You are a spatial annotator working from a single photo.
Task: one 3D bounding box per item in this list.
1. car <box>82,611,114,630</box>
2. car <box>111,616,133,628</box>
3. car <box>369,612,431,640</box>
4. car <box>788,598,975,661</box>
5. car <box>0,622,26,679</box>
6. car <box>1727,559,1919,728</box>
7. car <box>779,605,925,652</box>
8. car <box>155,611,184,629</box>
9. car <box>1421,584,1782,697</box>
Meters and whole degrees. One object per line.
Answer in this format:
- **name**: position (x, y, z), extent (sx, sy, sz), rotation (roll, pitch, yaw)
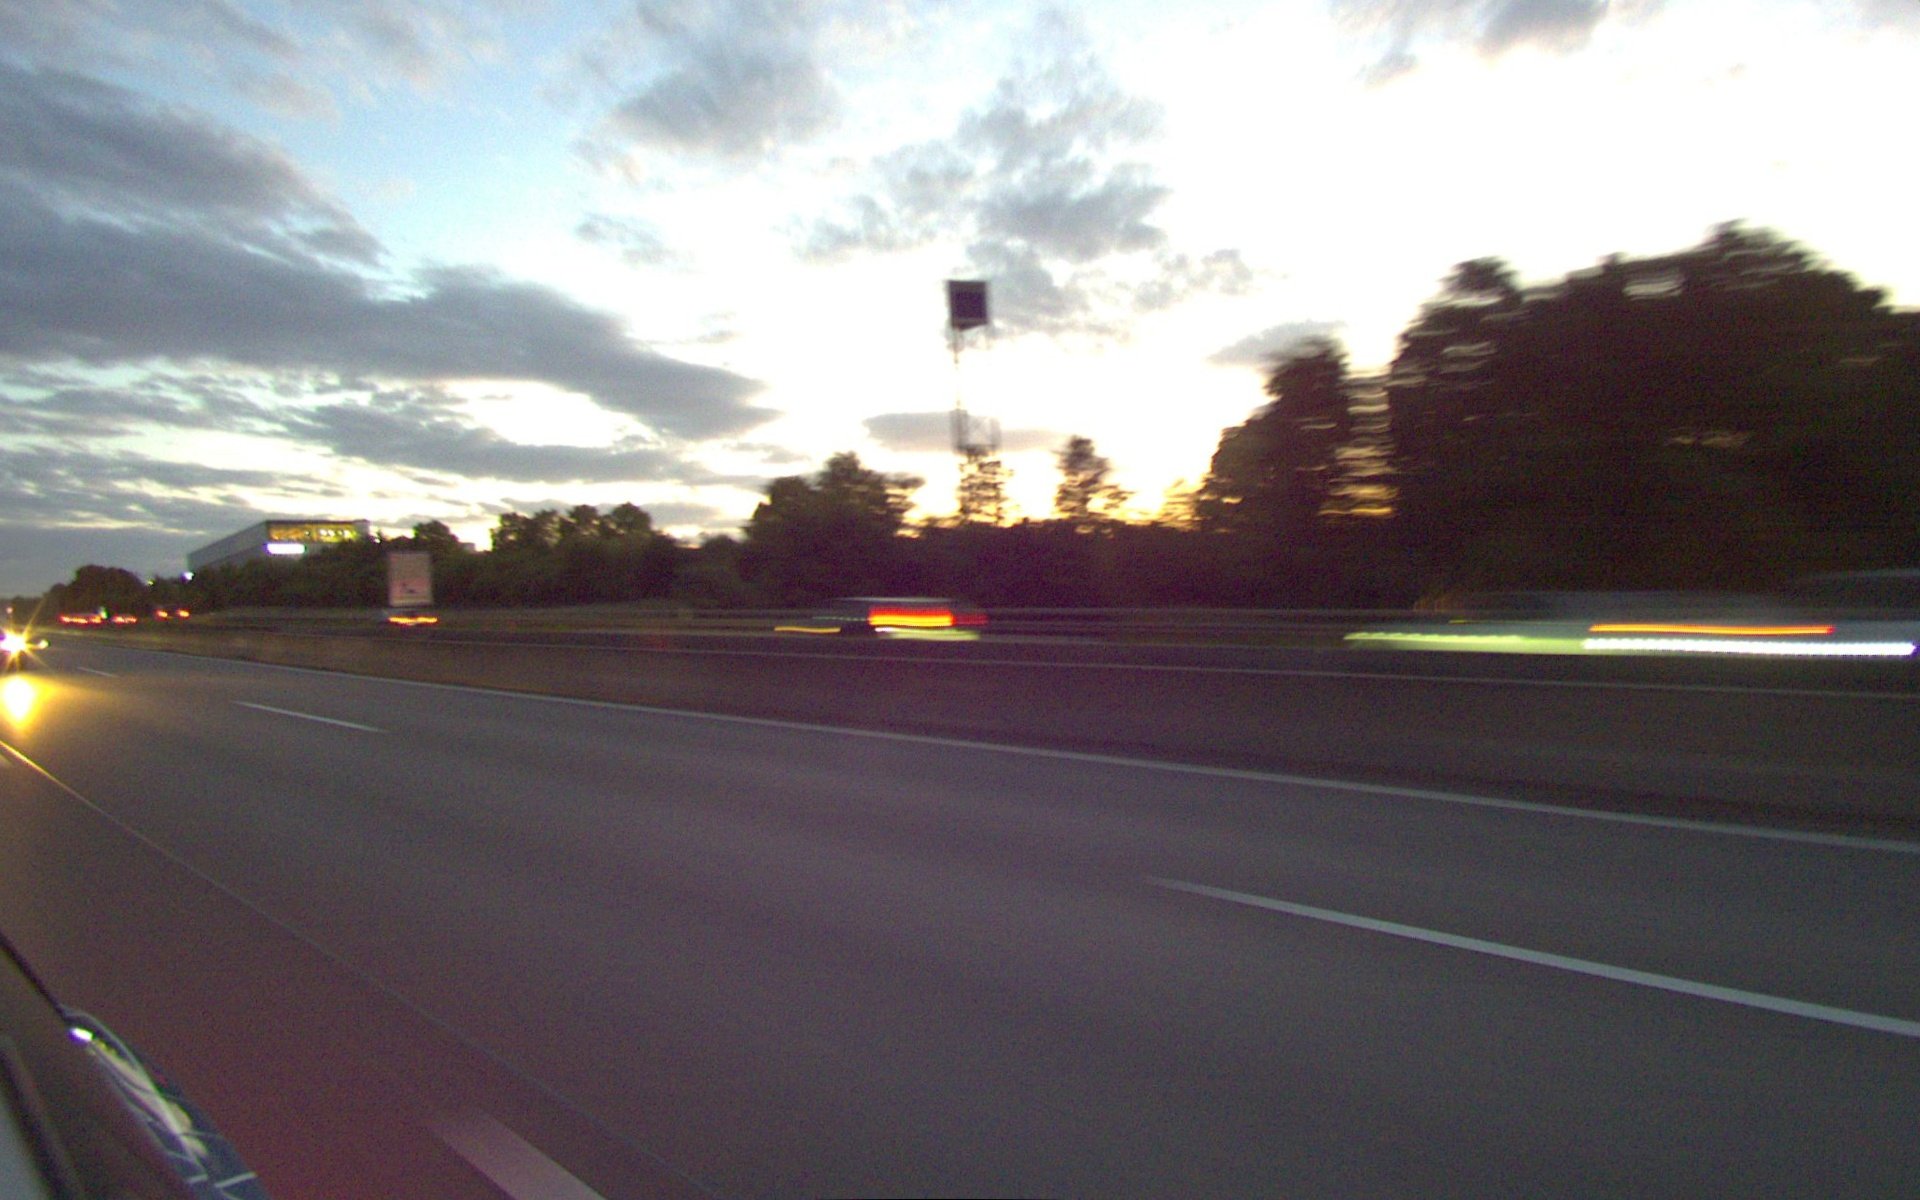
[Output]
- **car**: position (-86.814, 2.051, 101.925), extent (4.000, 1.792, 1.972), rotation (-1, 0, 43)
- **car**: position (-112.661, 2.945, 136.070), extent (4.582, 1.649, 1.768), rotation (-1, 0, 44)
- **car**: position (-33.202, 1.528, 59.996), extent (4.579, 1.555, 1.769), rotation (-1, 0, 41)
- **car**: position (-2.162, 0.735, 26.686), extent (5.021, 1.484, 1.973), rotation (-1, 0, 41)
- **car**: position (-27.555, 1.396, 28.256), extent (3.997, 1.491, 1.695), rotation (-1, 0, 40)
- **car**: position (11.230, 0.430, 10.542), extent (5.048, 1.748, 1.973), rotation (-1, 0, 41)
- **car**: position (-3.680, 0.910, 33.763), extent (5.021, 1.412, 1.973), rotation (-1, 0, 41)
- **car**: position (-84.411, 2.145, 108.103), extent (4.582, 1.823, 1.768), rotation (-1, 0, 44)
- **car**: position (9.967, 0.562, 15.933), extent (4.556, 1.516, 1.973), rotation (-1, 0, 41)
